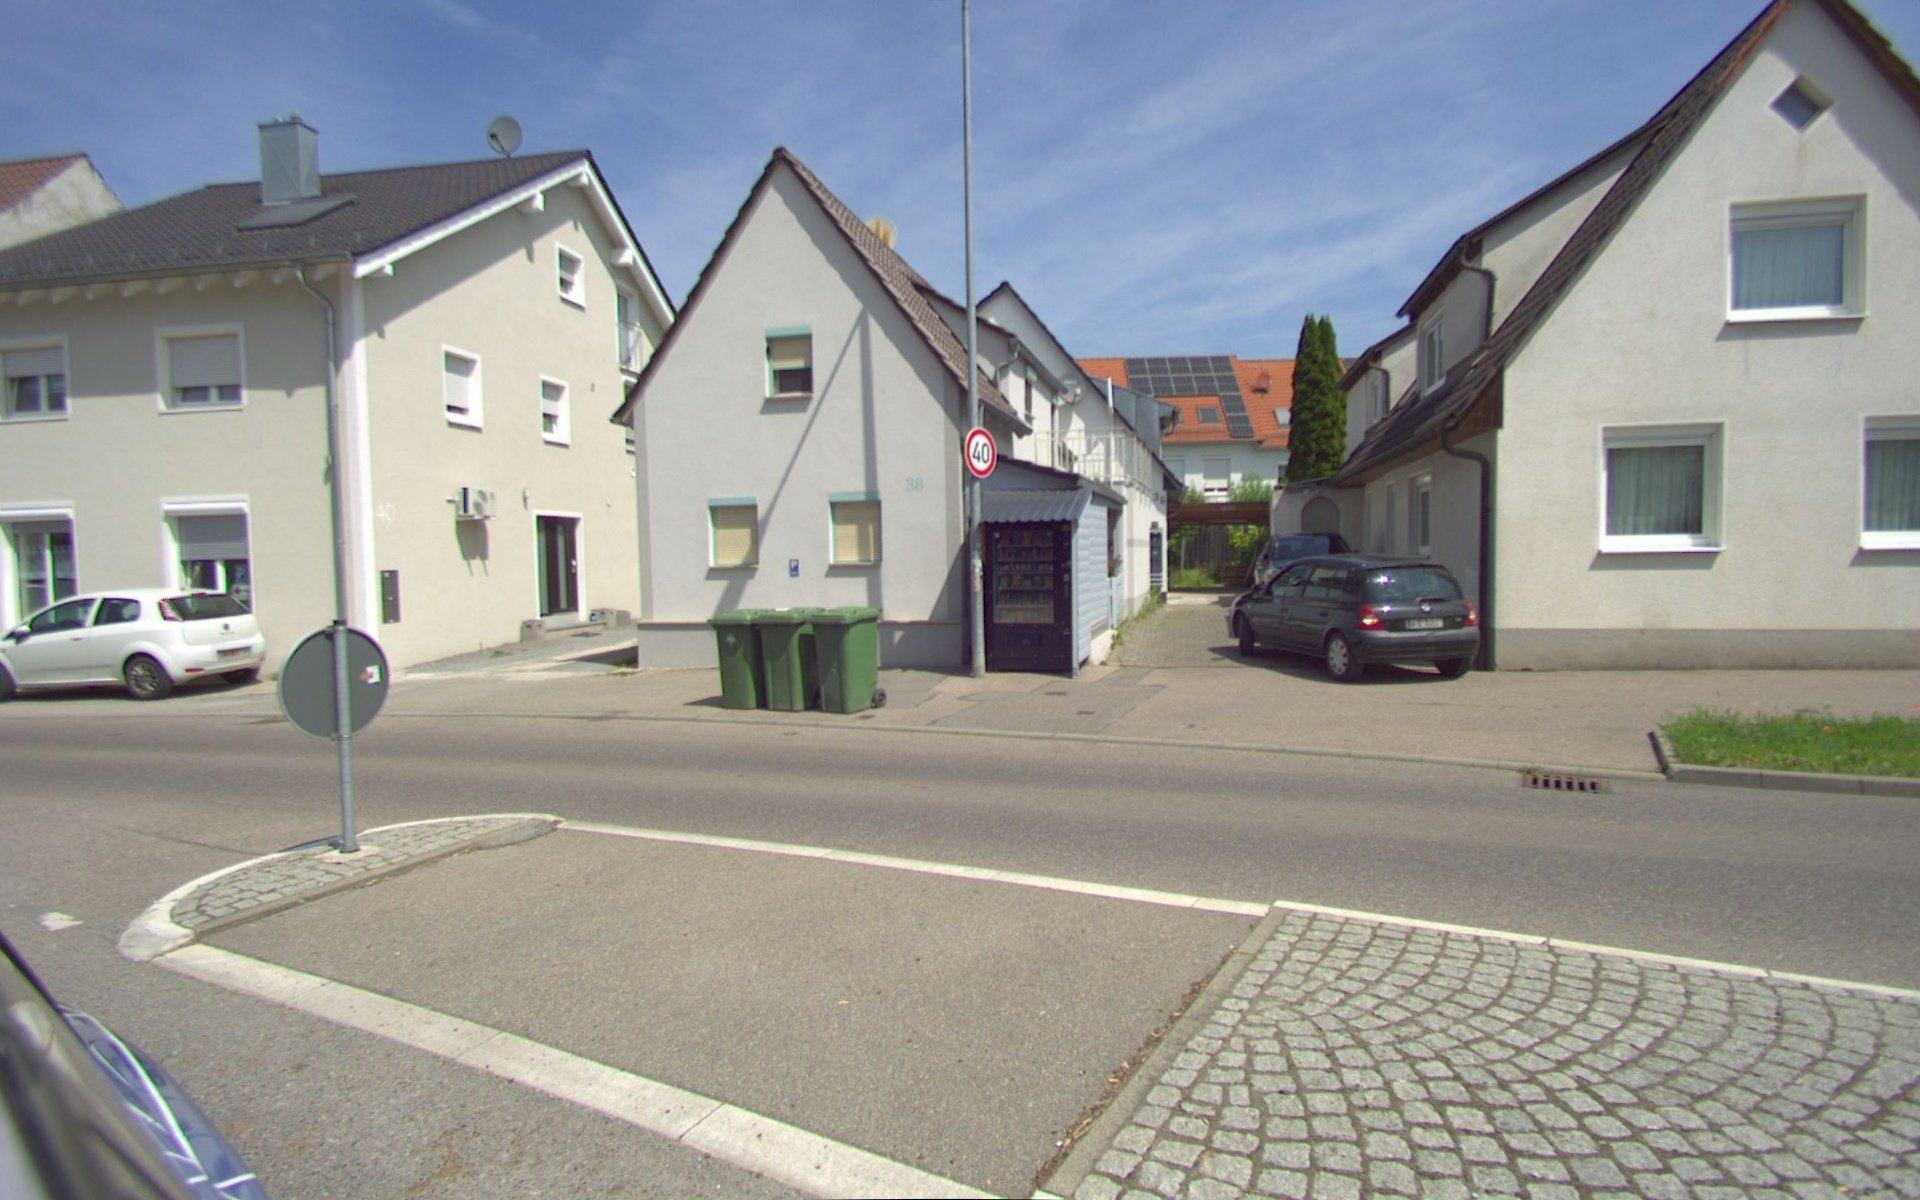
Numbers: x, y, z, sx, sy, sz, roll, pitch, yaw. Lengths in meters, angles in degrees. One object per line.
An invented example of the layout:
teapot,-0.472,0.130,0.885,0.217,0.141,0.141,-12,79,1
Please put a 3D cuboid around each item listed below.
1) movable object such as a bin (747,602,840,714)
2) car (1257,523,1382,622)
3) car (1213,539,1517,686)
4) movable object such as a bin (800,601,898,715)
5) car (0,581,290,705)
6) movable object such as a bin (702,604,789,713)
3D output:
movable object such as a bin,-1.762,0.605,10.779,0.628,1.084,0.727,-1,4,23
car,6.791,-0.518,19.470,1.982,1.657,3.851,-1,1,16
car,4.852,0.017,12.771,1.750,1.451,3.857,-3,5,-10
movable object such as a bin,-1.146,0.591,10.524,0.721,1.084,0.678,-1,4,23
car,-12.179,0.591,14.560,3.953,1.513,1.822,-2,4,8
movable object such as a bin,-2.333,0.624,11.044,0.628,1.100,0.638,-1,4,23
